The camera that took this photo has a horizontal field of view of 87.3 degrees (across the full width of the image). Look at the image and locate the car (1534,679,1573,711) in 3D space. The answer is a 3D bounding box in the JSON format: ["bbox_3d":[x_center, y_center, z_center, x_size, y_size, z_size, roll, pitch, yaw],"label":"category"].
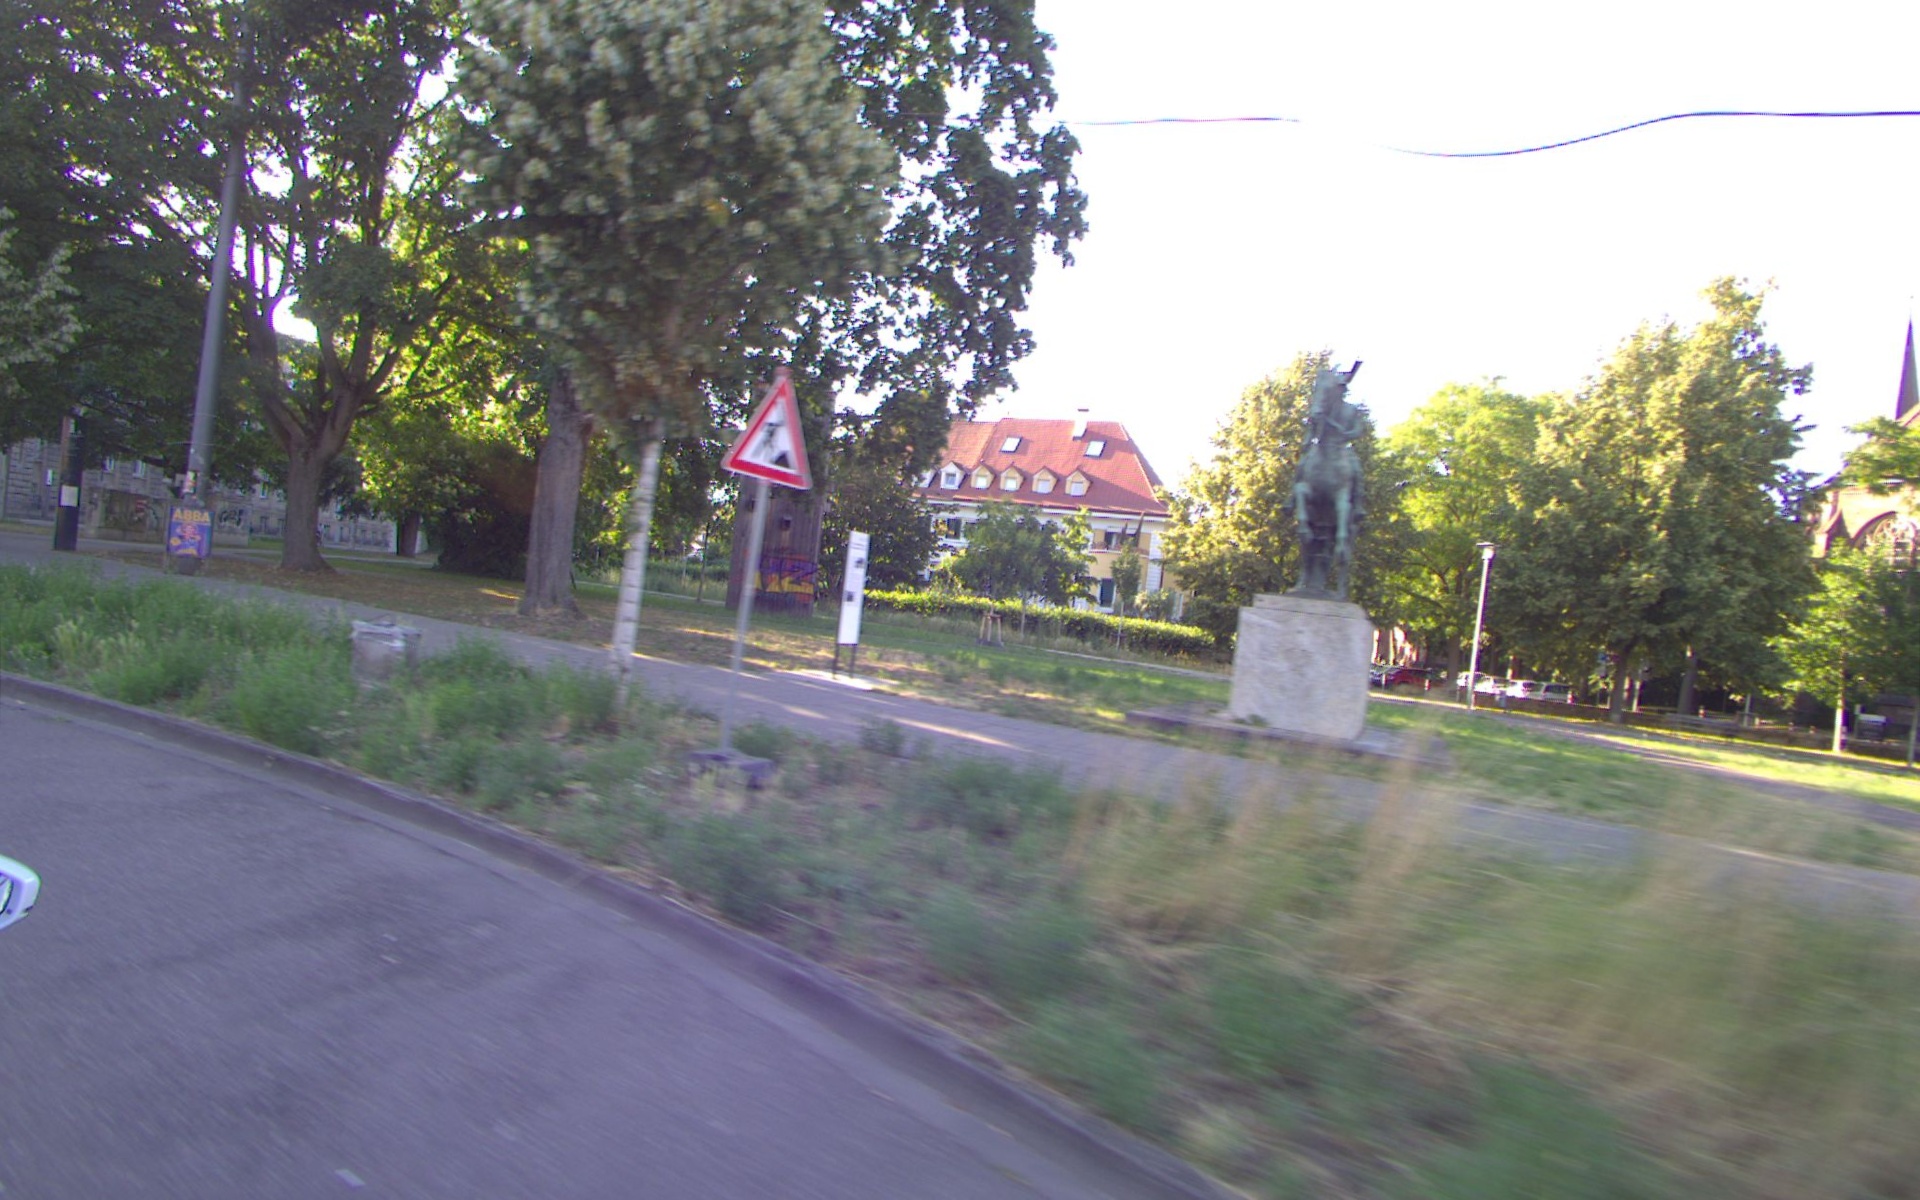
[{"bbox_3d":[33.918,5.436,57.592,1.570,1.528,4.154,7,-1,28],"label":"car"}]

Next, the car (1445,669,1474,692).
[{"bbox_3d":[36.607,5.905,73.689,1.537,1.466,3.503,7,-1,30],"label":"car"}]

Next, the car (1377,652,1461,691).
[{"bbox_3d":[26.027,4.023,57.177,4.082,1.639,1.870,7,1,23],"label":"car"}]

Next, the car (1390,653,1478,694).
[{"bbox_3d":[25.677,3.973,54.693,4.082,1.650,1.870,7,1,23],"label":"car"}]

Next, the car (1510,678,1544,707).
[{"bbox_3d":[35.611,5.802,63.225,1.601,1.528,4.153,8,0,28],"label":"car"}]

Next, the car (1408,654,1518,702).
[{"bbox_3d":[25.478,3.917,51.148,4.550,1.740,2.000,7,1,18],"label":"car"}]

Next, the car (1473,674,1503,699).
[{"bbox_3d":[35.999,5.871,68.513,1.537,1.466,3.503,7,-1,30],"label":"car"}]
